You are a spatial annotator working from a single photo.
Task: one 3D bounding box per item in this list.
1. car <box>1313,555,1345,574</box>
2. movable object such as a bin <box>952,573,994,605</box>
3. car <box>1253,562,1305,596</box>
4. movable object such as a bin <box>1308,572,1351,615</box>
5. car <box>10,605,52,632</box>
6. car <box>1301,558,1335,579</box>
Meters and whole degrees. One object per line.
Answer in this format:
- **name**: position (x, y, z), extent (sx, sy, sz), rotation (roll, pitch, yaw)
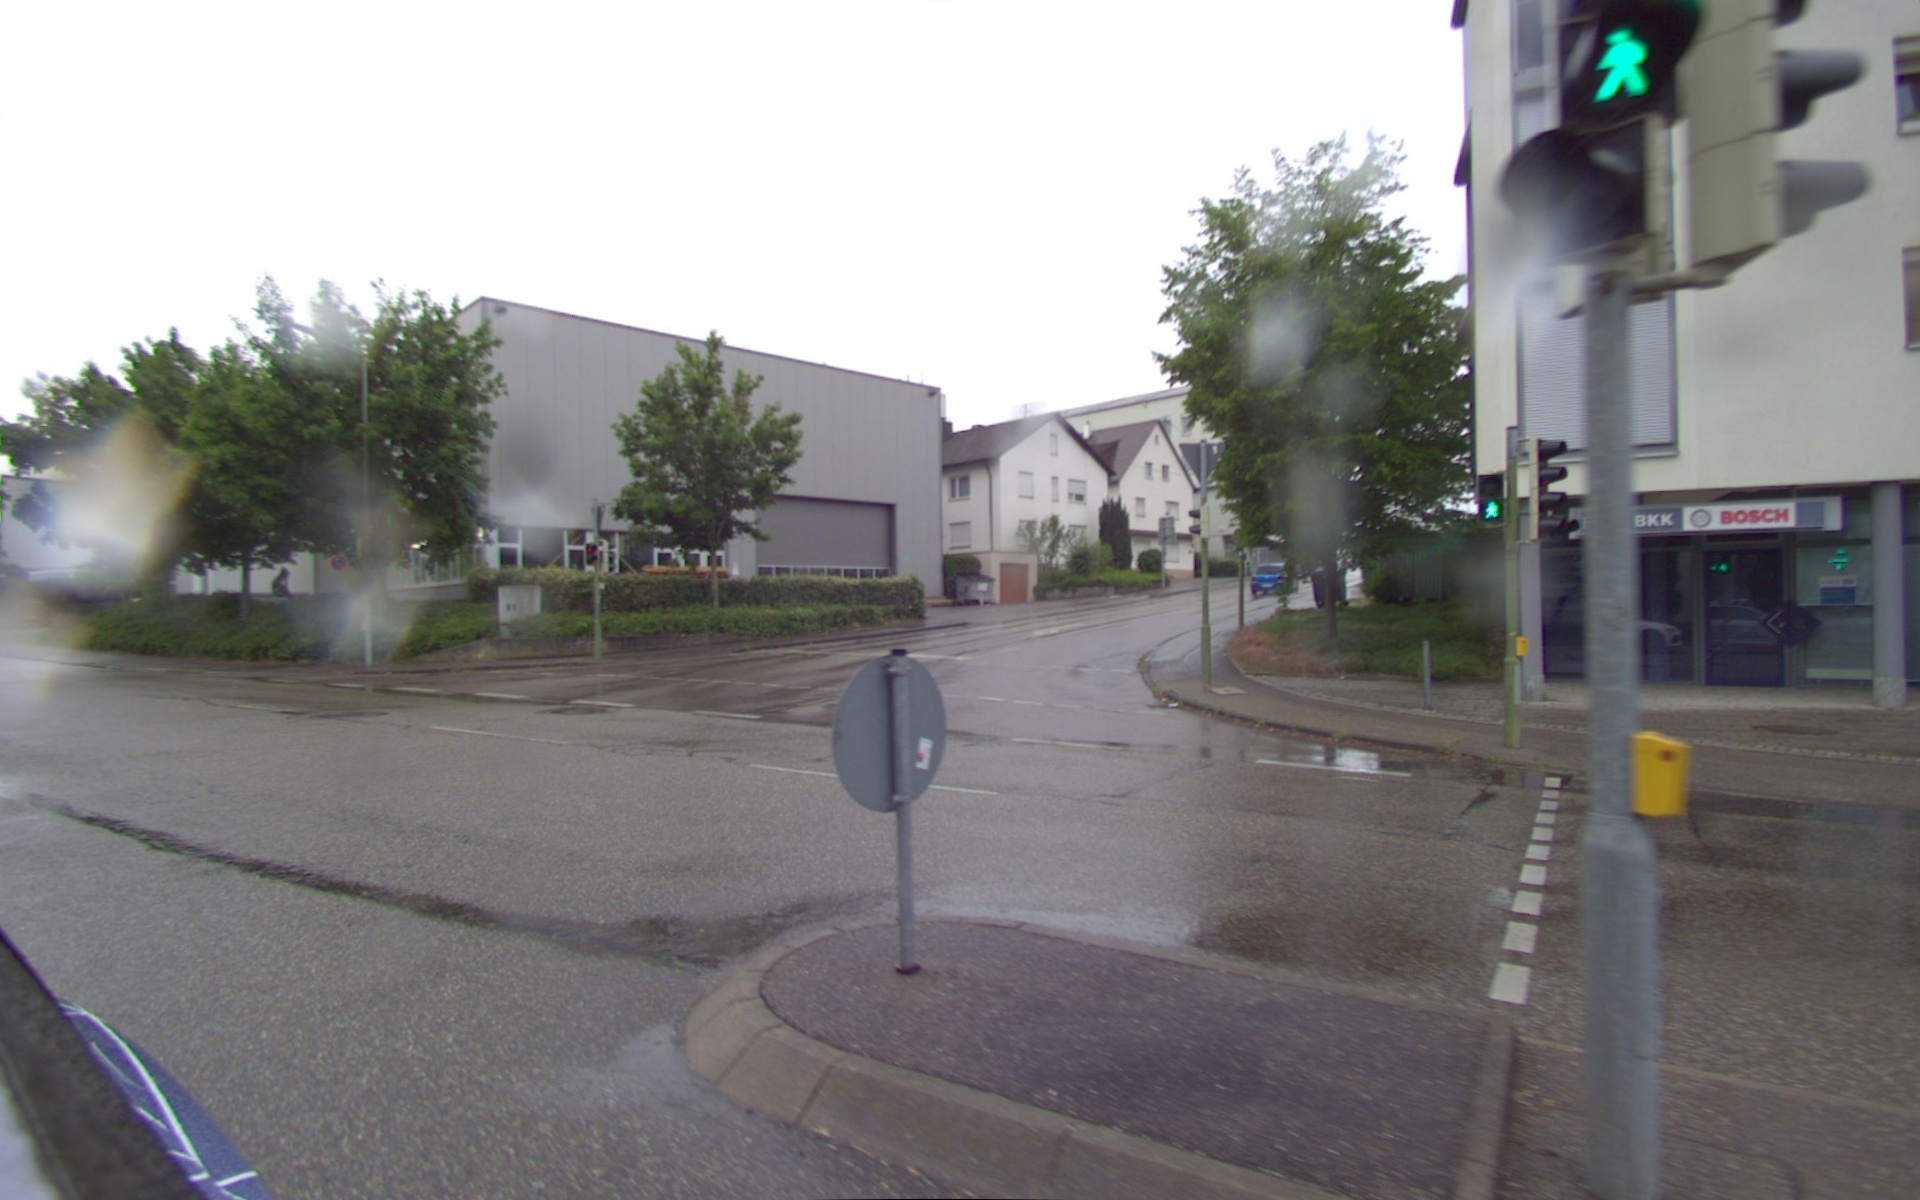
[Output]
- **car**: position (31.799, -3.098, 87.076), extent (1.843, 1.534, 3.958), rotation (-1, 2, 31)
- **movable object such as a bin**: position (0.645, -0.563, 51.179), extent (1.565, 1.547, 1.450), rotation (-2, 1, -44)
- **car**: position (15.605, -1.047, 49.422), extent (1.764, 1.456, 3.964), rotation (-1, 3, 28)
- **movable object such as a bin**: position (12.469, -0.218, 34.170), extent (1.053, 1.306, 1.189), rotation (-7, -2, 31)
- **car**: position (-54.280, 1.094, 59.096), extent (1.712, 1.490, 4.024), rotation (-1, 0, -44)
- **car**: position (29.257, -2.582, 82.618), extent (1.843, 1.534, 3.958), rotation (-1, 2, 31)
